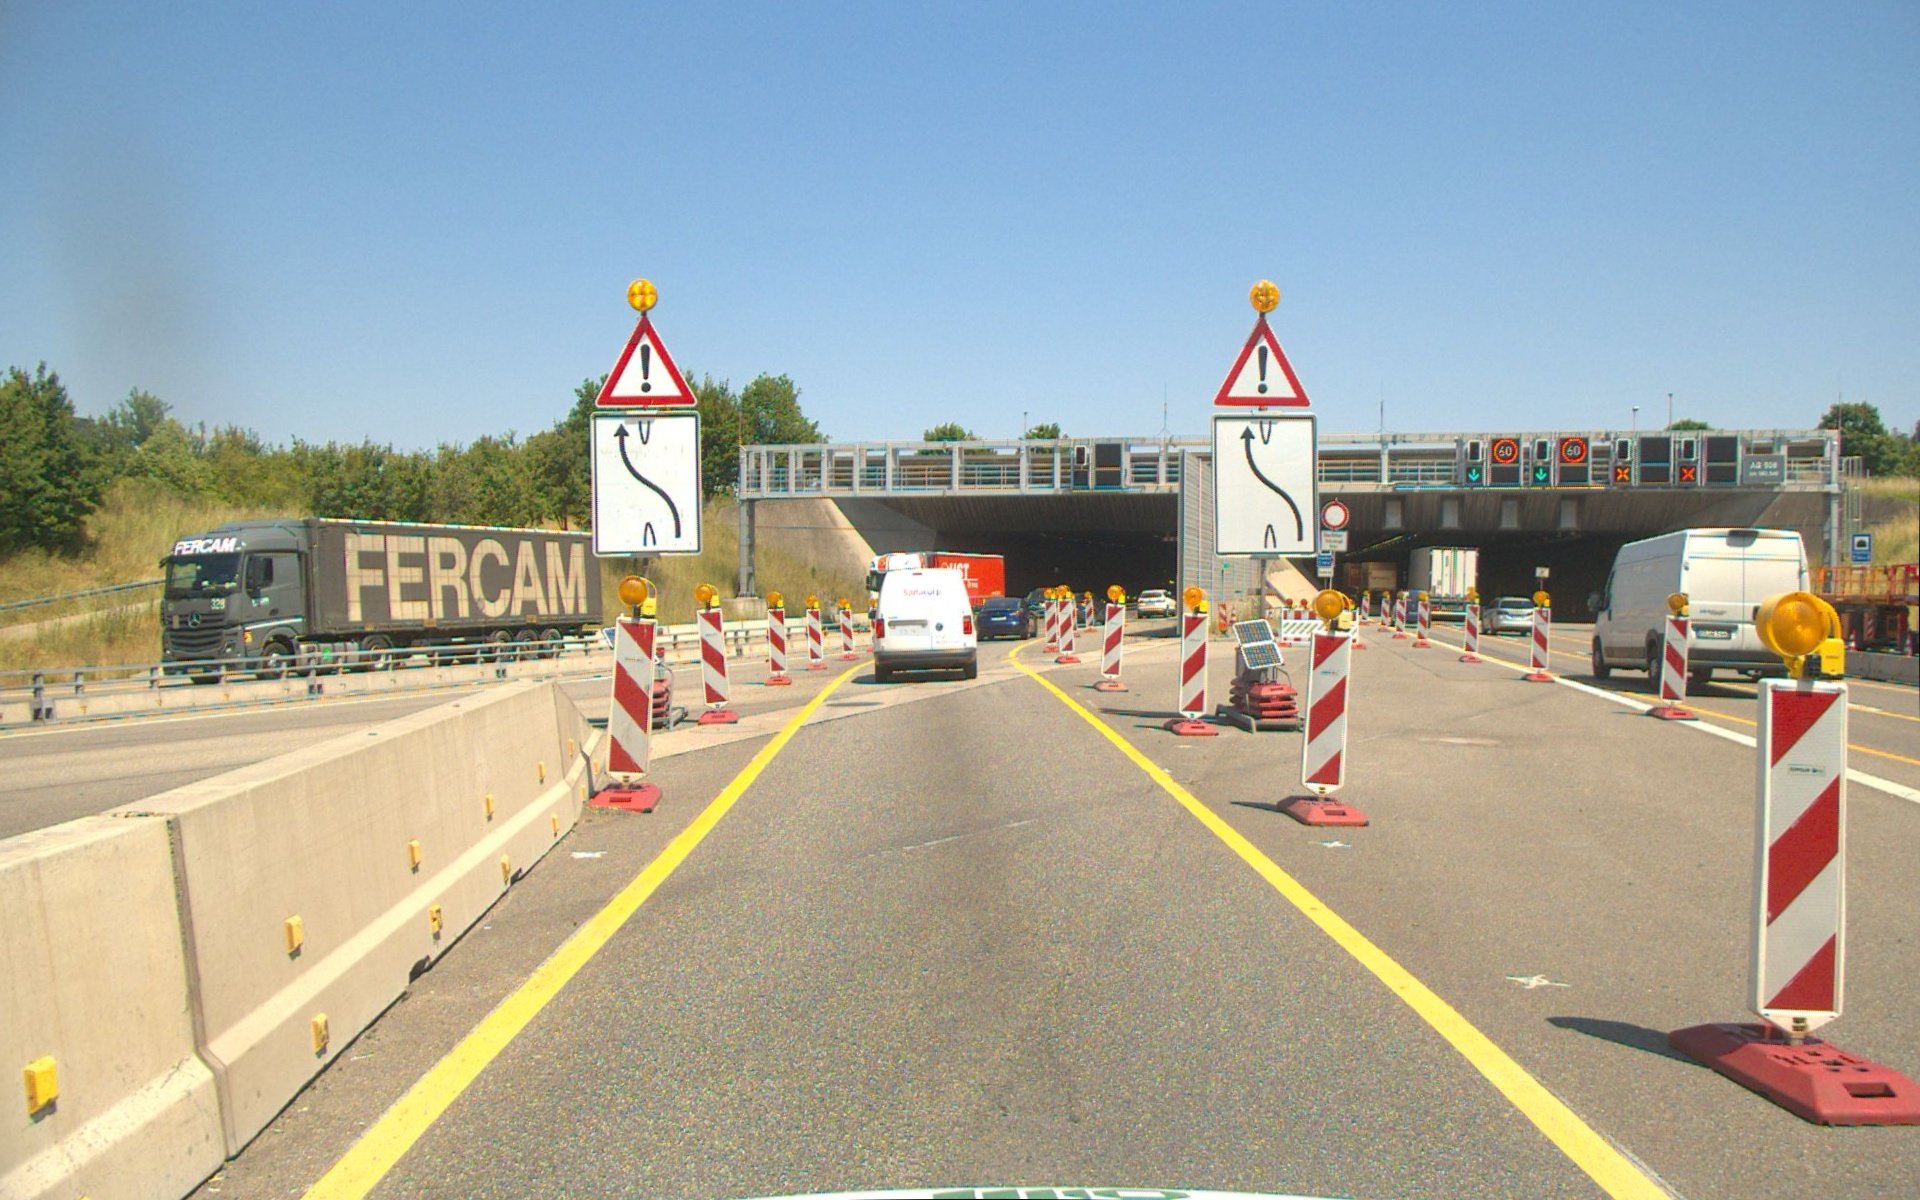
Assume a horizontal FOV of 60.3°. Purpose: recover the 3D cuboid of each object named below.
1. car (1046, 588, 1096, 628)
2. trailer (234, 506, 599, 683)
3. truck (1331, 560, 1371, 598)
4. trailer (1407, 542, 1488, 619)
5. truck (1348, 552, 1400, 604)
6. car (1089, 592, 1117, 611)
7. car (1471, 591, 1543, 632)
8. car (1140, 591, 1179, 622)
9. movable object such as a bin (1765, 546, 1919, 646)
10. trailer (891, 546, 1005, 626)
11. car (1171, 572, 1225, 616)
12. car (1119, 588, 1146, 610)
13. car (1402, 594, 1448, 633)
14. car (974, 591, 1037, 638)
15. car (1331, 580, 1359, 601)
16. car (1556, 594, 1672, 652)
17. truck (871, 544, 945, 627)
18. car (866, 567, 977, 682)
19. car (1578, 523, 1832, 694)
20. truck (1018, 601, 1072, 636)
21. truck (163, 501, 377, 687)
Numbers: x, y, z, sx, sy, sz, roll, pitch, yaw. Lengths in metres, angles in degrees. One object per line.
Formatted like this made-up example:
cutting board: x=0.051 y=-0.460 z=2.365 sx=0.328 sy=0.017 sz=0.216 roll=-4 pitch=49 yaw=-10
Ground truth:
car: x=5.257 y=0.372 z=77.868 sx=1.770 sy=1.847 sz=4.413 roll=-1 pitch=0 yaw=11
trailer: x=-15.029 y=-0.130 z=47.808 sx=2.384 sy=4.372 sz=13.816 roll=0 pitch=0 yaw=18
truck: x=47.178 y=-2.491 z=199.775 sx=3.329 sy=4.142 sz=16.549 roll=2 pitch=0 yaw=9
trailer: x=28.315 y=-1.015 z=96.713 sx=2.674 sy=4.133 sz=14.106 roll=2 pitch=0 yaw=9
truck: x=39.956 y=-1.962 z=160.131 sx=3.329 sy=4.411 sz=16.548 roll=2 pitch=-1 yaw=9
car: x=11.946 y=0.129 z=138.237 sx=1.651 sy=1.419 sz=4.003 roll=-3 pitch=-1 yaw=14
car: x=21.638 y=0.455 z=65.550 sx=1.776 sy=1.490 sz=4.656 roll=2 pitch=0 yaw=7
car: x=11.679 y=0.369 z=96.686 sx=1.770 sy=1.781 sz=4.413 roll=-1 pitch=0 yaw=13
movable object such as a bin: x=31.969 y=-0.125 z=57.298 sx=3.045 sy=3.063 sz=14.713 roll=-1 pitch=0 yaw=9
trailer: x=-0.454 y=-0.731 z=93.367 sx=2.289 sy=4.174 sz=13.267 roll=-1 pitch=0 yaw=18
car: x=16.345 y=-0.344 z=113.360 sx=2.754 sy=2.822 sz=7.105 roll=1 pitch=-1 yaw=15
car: x=15.685 y=-0.065 z=150.122 sx=1.651 sy=1.866 sz=4.791 roll=-3 pitch=-1 yaw=15
car: x=21.006 y=0.621 z=74.826 sx=1.776 sy=1.671 sz=4.656 roll=2 pitch=0 yaw=13
car: x=1.624 y=0.488 z=57.791 sx=1.770 sy=1.564 sz=4.413 roll=-1 pitch=0 yaw=7
car: x=32.550 y=-0.769 z=139.817 sx=1.776 sy=1.658 sz=4.193 roll=2 pitch=0 yaw=6
car: x=18.437 y=0.669 z=46.845 sx=1.777 sy=1.490 sz=4.655 roll=2 pitch=-1 yaw=5
truck: x=-2.674 y=-0.735 z=86.572 sx=2.285 sy=4.180 sz=5.020 roll=-1 pitch=0 yaw=18
car: x=-0.612 y=0.399 z=28.413 sx=1.771 sy=1.825 sz=3.731 roll=0 pitch=0 yaw=0
car: x=12.603 y=0.136 z=28.574 sx=2.217 sy=2.580 sz=6.590 roll=1 pitch=0 yaw=8
truck: x=5.039 y=1.050 z=97.198 sx=1.952 sy=1.906 sz=4.764 roll=-1 pitch=1 yaw=18
truck: x=-17.095 y=-0.132 z=41.286 sx=2.380 sy=4.345 sz=4.841 roll=0 pitch=0 yaw=18
